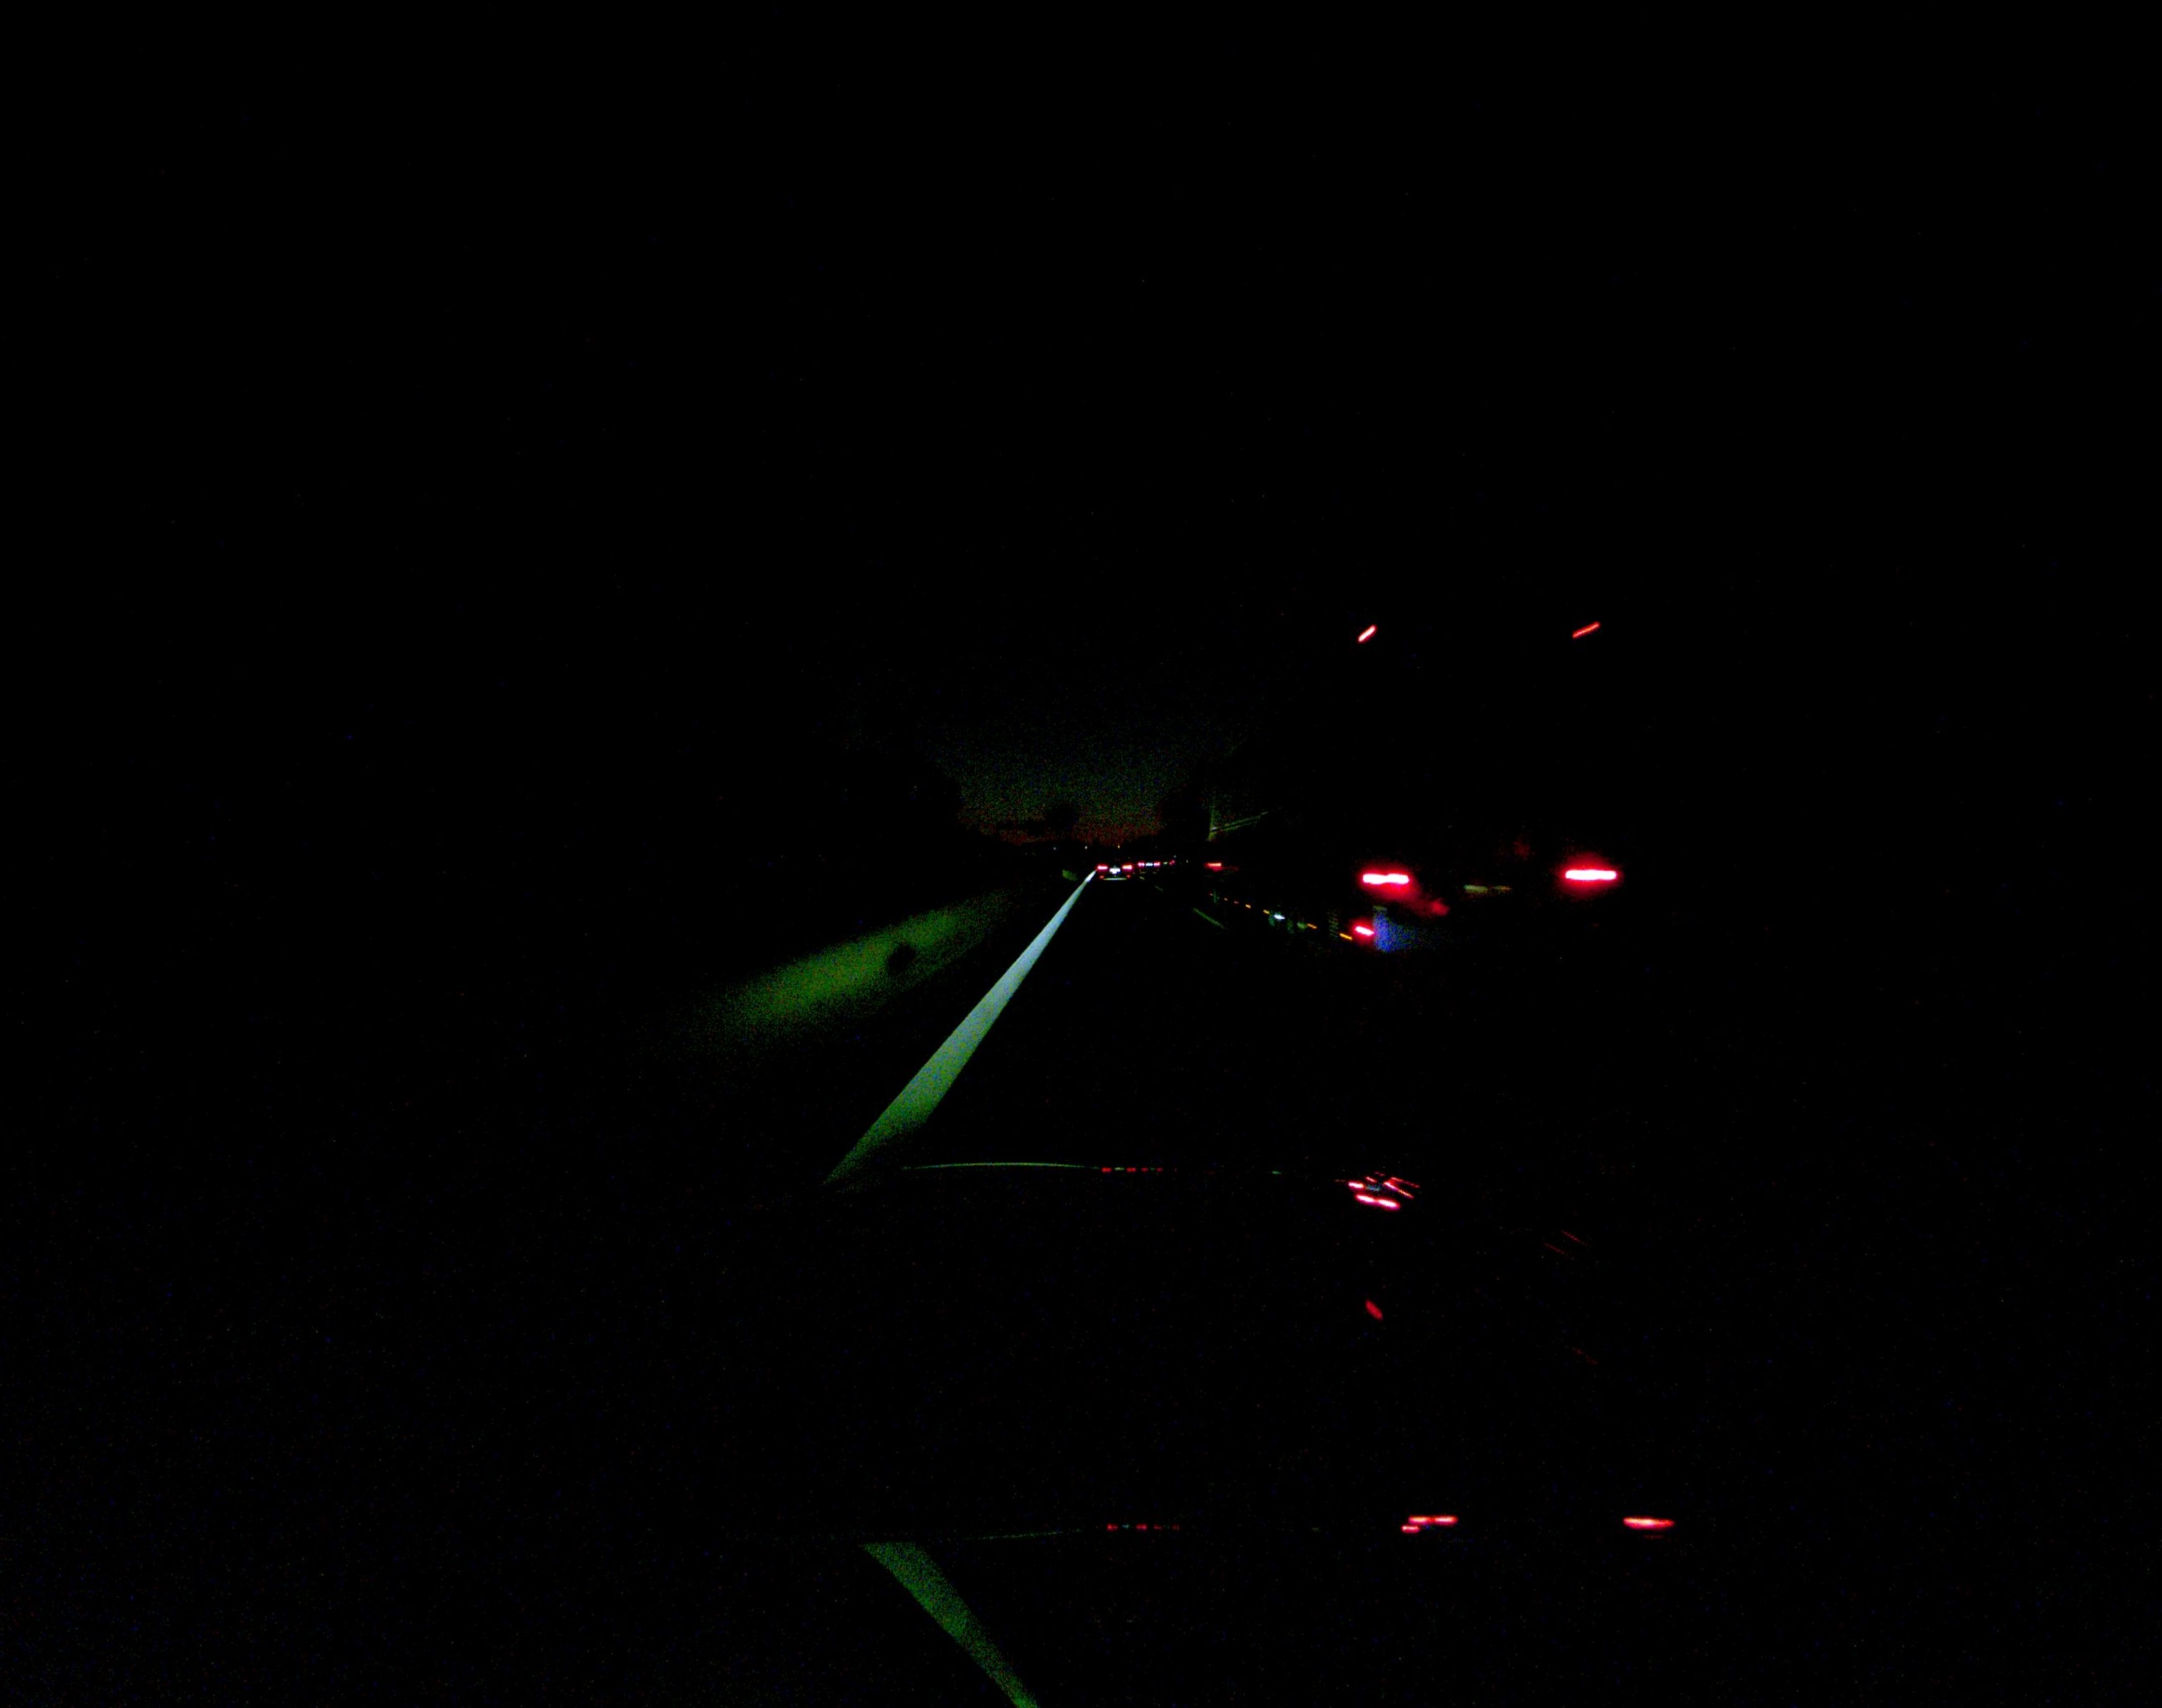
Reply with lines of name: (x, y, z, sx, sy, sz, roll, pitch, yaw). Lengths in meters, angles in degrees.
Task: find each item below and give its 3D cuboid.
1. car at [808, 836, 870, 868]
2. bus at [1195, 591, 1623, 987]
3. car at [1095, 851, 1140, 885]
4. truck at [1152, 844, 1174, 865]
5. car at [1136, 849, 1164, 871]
car: (-13.545, -0.125, 45.841, 1.986, 1.635, 4.749, 3, 1, 0)
bus: (4.340, -0.609, 15.586, 2.642, 3.994, 14.705, 0, 0, 2)
car: (1.755, 0.689, 40.697, 2.099, 1.618, 4.204, 0, -1, 0)
truck: (12.159, 0.075, 120.870, 2.593, 2.875, 7.486, 1, 0, 1)
car: (5.447, 0.477, 64.702, 1.905, 1.730, 3.999, 0, -1, 0)
